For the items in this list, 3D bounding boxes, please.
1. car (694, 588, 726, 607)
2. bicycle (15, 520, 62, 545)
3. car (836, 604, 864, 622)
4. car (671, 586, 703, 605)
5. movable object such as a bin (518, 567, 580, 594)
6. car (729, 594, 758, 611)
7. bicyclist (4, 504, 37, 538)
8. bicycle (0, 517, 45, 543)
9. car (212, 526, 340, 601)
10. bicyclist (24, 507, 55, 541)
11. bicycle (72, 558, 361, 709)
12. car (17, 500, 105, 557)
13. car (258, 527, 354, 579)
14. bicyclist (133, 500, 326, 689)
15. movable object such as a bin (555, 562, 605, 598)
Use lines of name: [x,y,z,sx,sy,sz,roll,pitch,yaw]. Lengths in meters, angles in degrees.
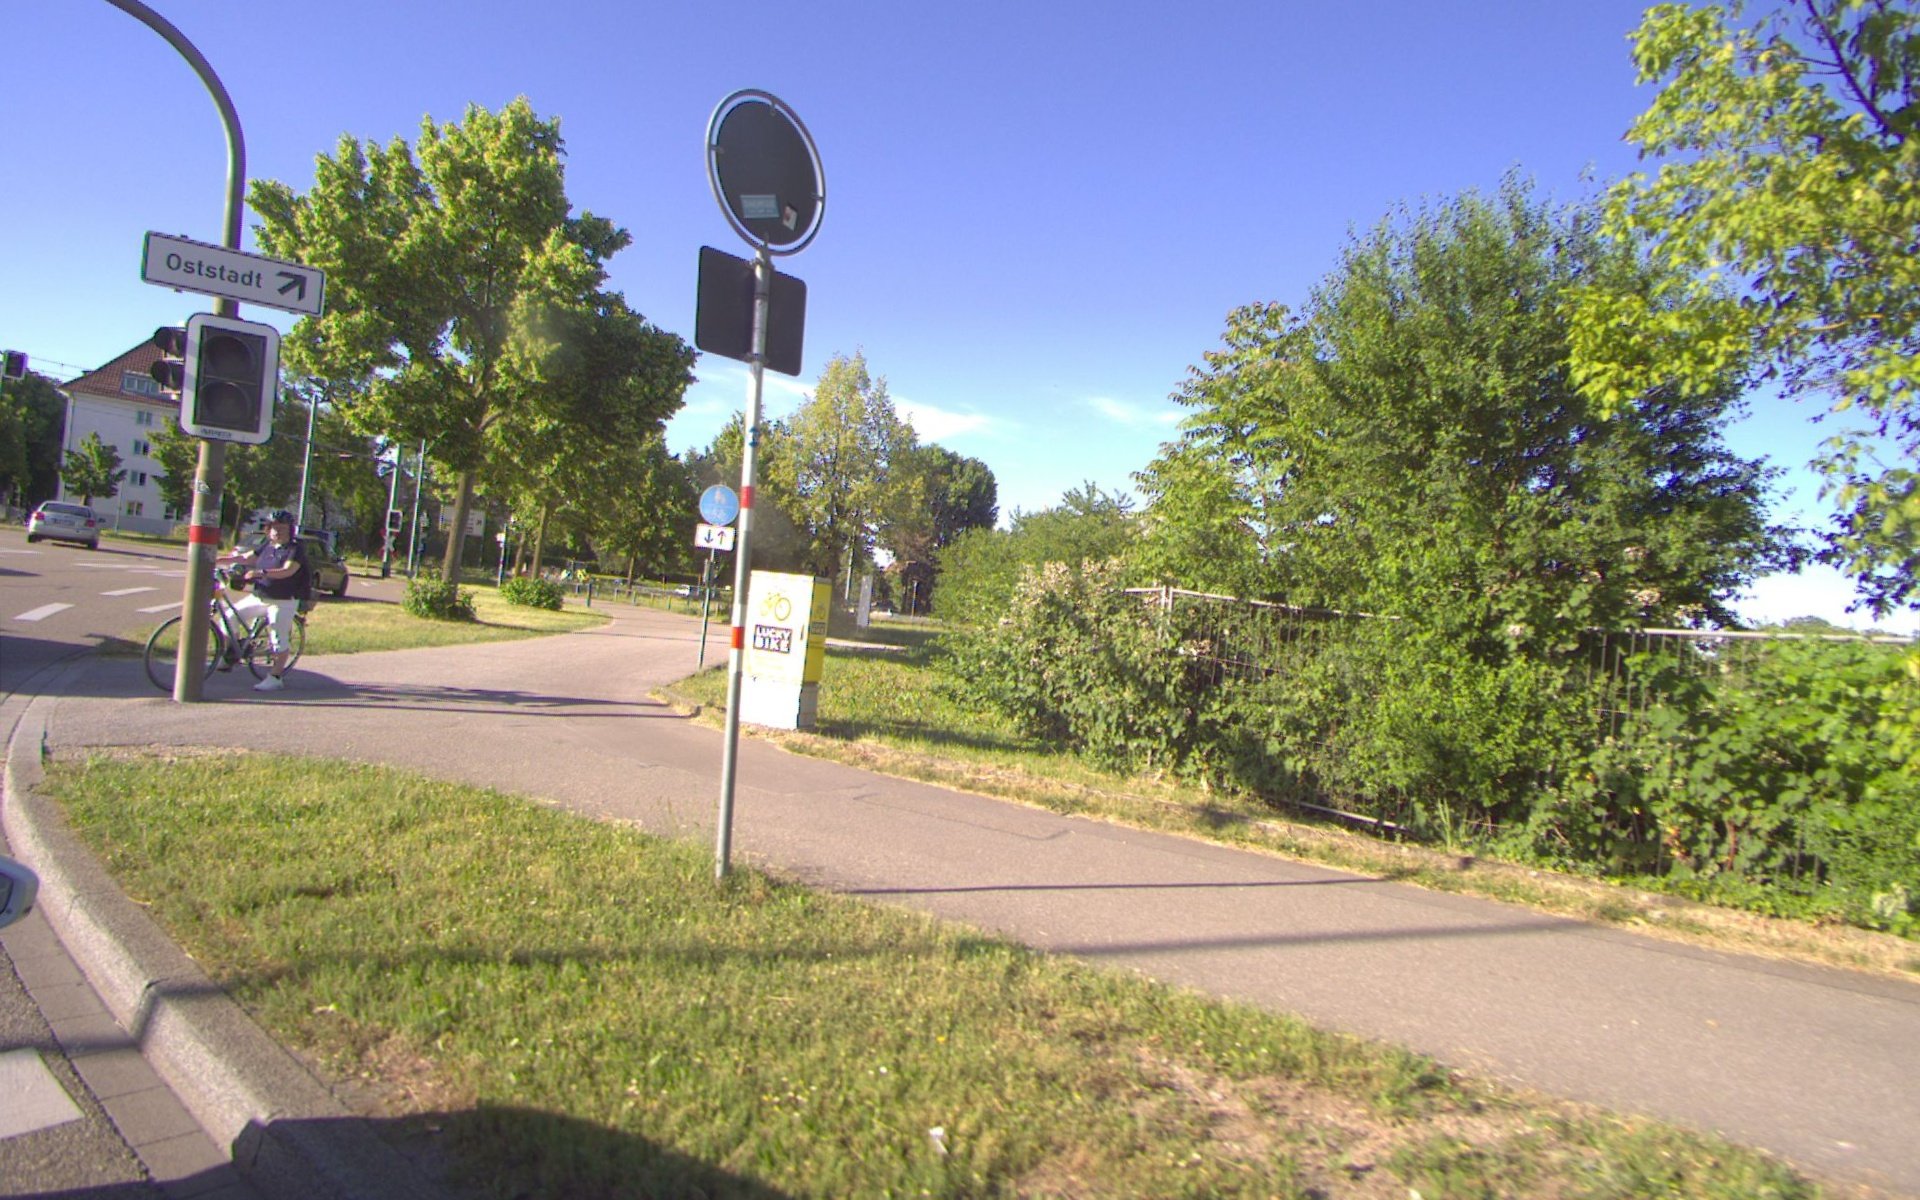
car: [-26.893,-0.263,108.115,1.982,1.788,3.966,8,-3,-34]
bicycle: [-57.039,-4.178,62.270,2.167,1.280,0.819,6,-2,6]
car: [-12.915,1.494,117.943,1.677,1.799,3.820,8,-3,-31]
car: [-29.114,-0.534,107.143,1.982,1.742,3.966,8,-3,-34]
movable object such as a bin: [-39.526,-1.845,96.810,4.990,1.970,2.214,9,-4,-42]
car: [-23.758,0.241,110.199,1.815,1.573,3.777,8,-3,-32]
bicyclist: [-57.034,-4.784,61.078,1.006,1.873,0.813,6,-2,6]
bicycle: [-56.993,-4.244,61.049,2.167,1.280,0.819,6,-2,6]
car: [-16.310,-0.856,24.208,1.697,1.453,4.129,7,-1,-24]
bicyclist: [-56.981,-4.708,62.284,1.006,1.873,0.813,6,-2,6]
bicycle: [-6.774,0.292,9.373,0.859,1.169,2.217,5,0,5]
car: [-30.901,-2.464,34.689,1.985,1.594,4.359,7,-1,-40]
car: [-29.771,-2.146,45.733,4.680,1.919,1.997,5,-2,36]
bicyclist: [-6.742,-0.041,9.345,0.859,1.582,1.088,5,0,5]
movable object such as a bin: [-33.564,-1.816,88.769,1.989,2.820,4.986,8,-4,-45]
